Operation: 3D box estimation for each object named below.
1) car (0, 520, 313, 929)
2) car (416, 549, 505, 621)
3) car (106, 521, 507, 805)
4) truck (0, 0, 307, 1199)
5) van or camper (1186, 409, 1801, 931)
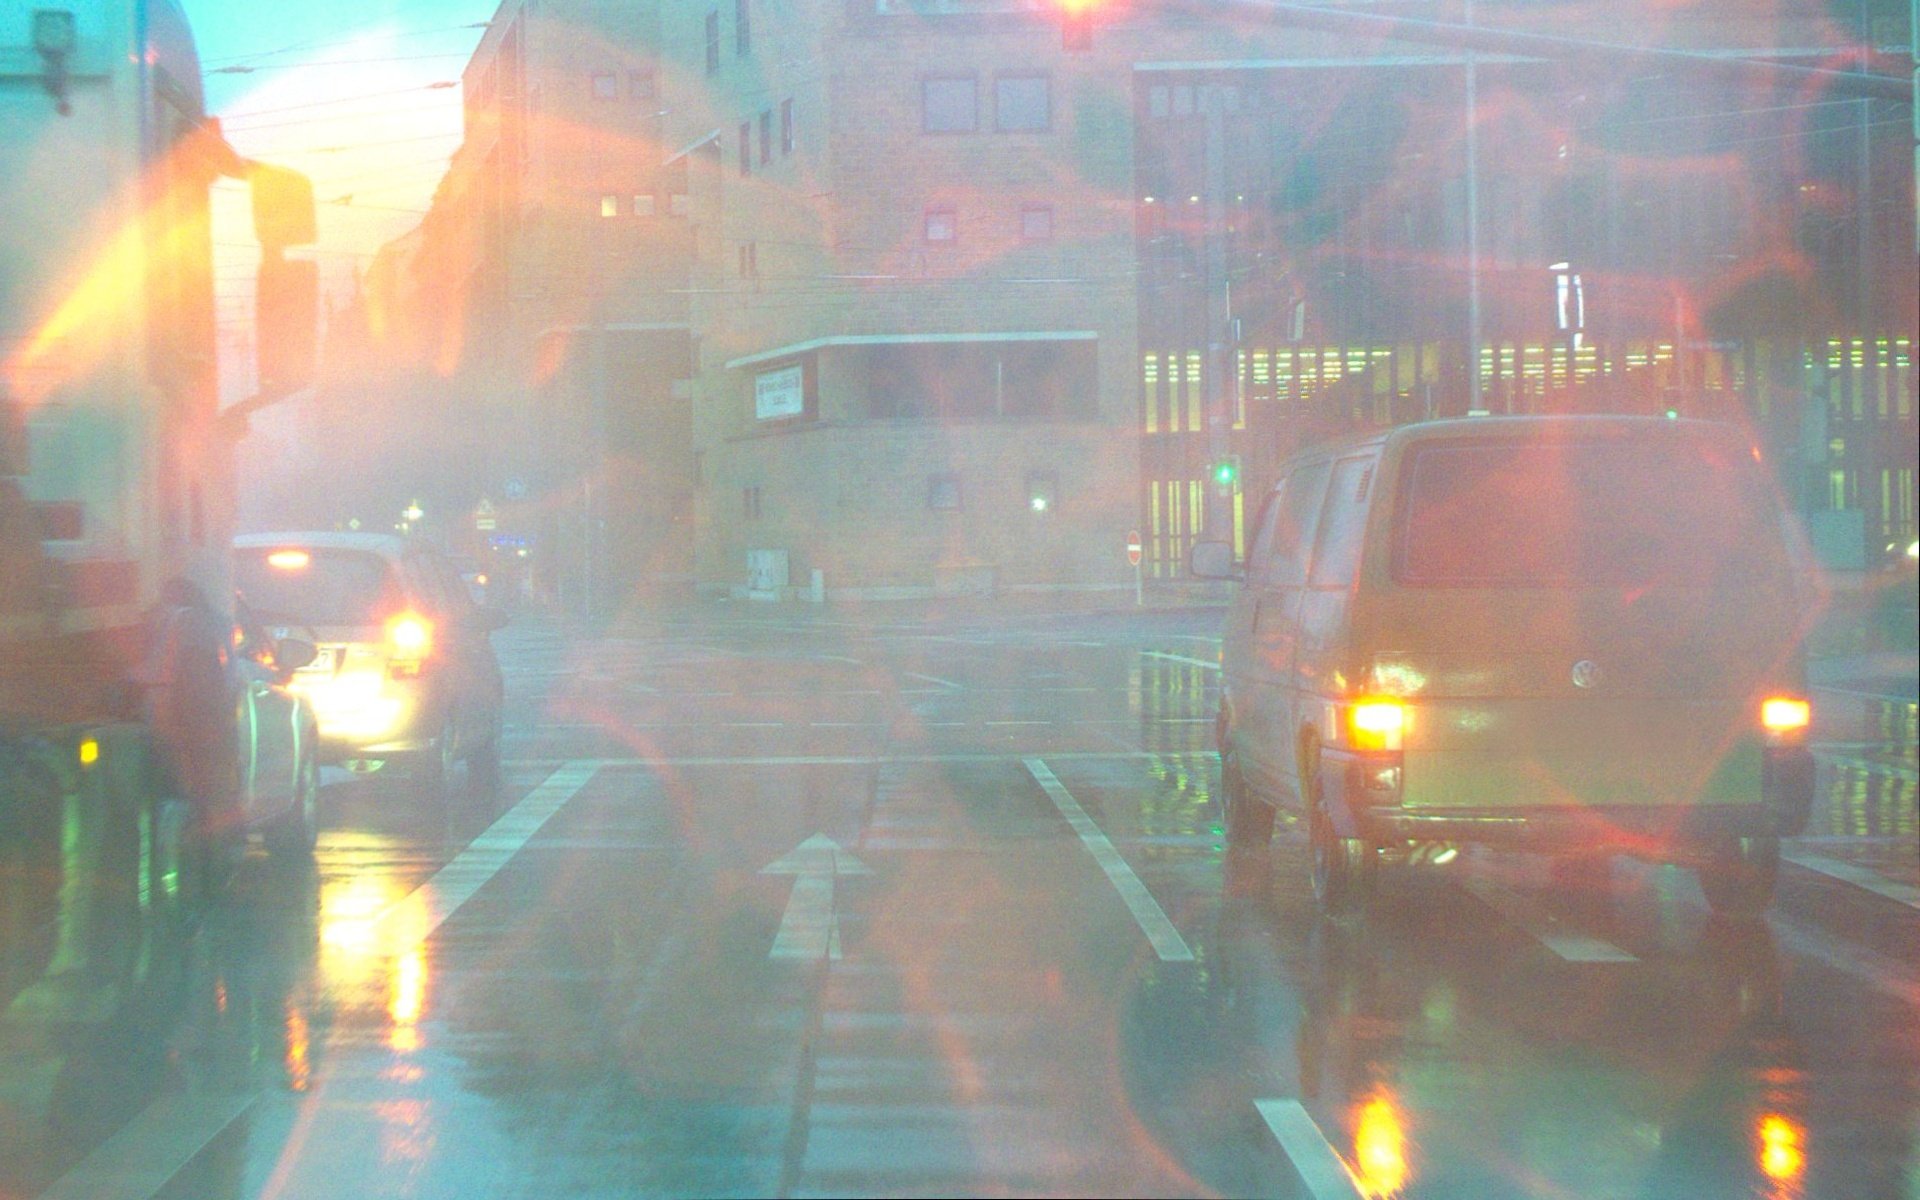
[{"bbox_3d":[-3.829,0.414,14.186,1.705,1.443,4.000,1,1,-2],"label":"car"},{"bbox_3d":[-11.714,-0.376,80.477,1.870,1.573,4.001,1,1,-10],"label":"car"},{"bbox_3d":[-3.667,0.294,19.873,1.697,1.454,3.758,-1,1,-2],"label":"car"},{"bbox_3d":[-3.340,-0.425,7.303,2.839,3.621,7.528,-1,1,-3],"label":"truck"},{"bbox_3d":[2.102,0.214,14.802,1.756,1.900,4.419,0,1,-3],"label":"van or camper"}]
